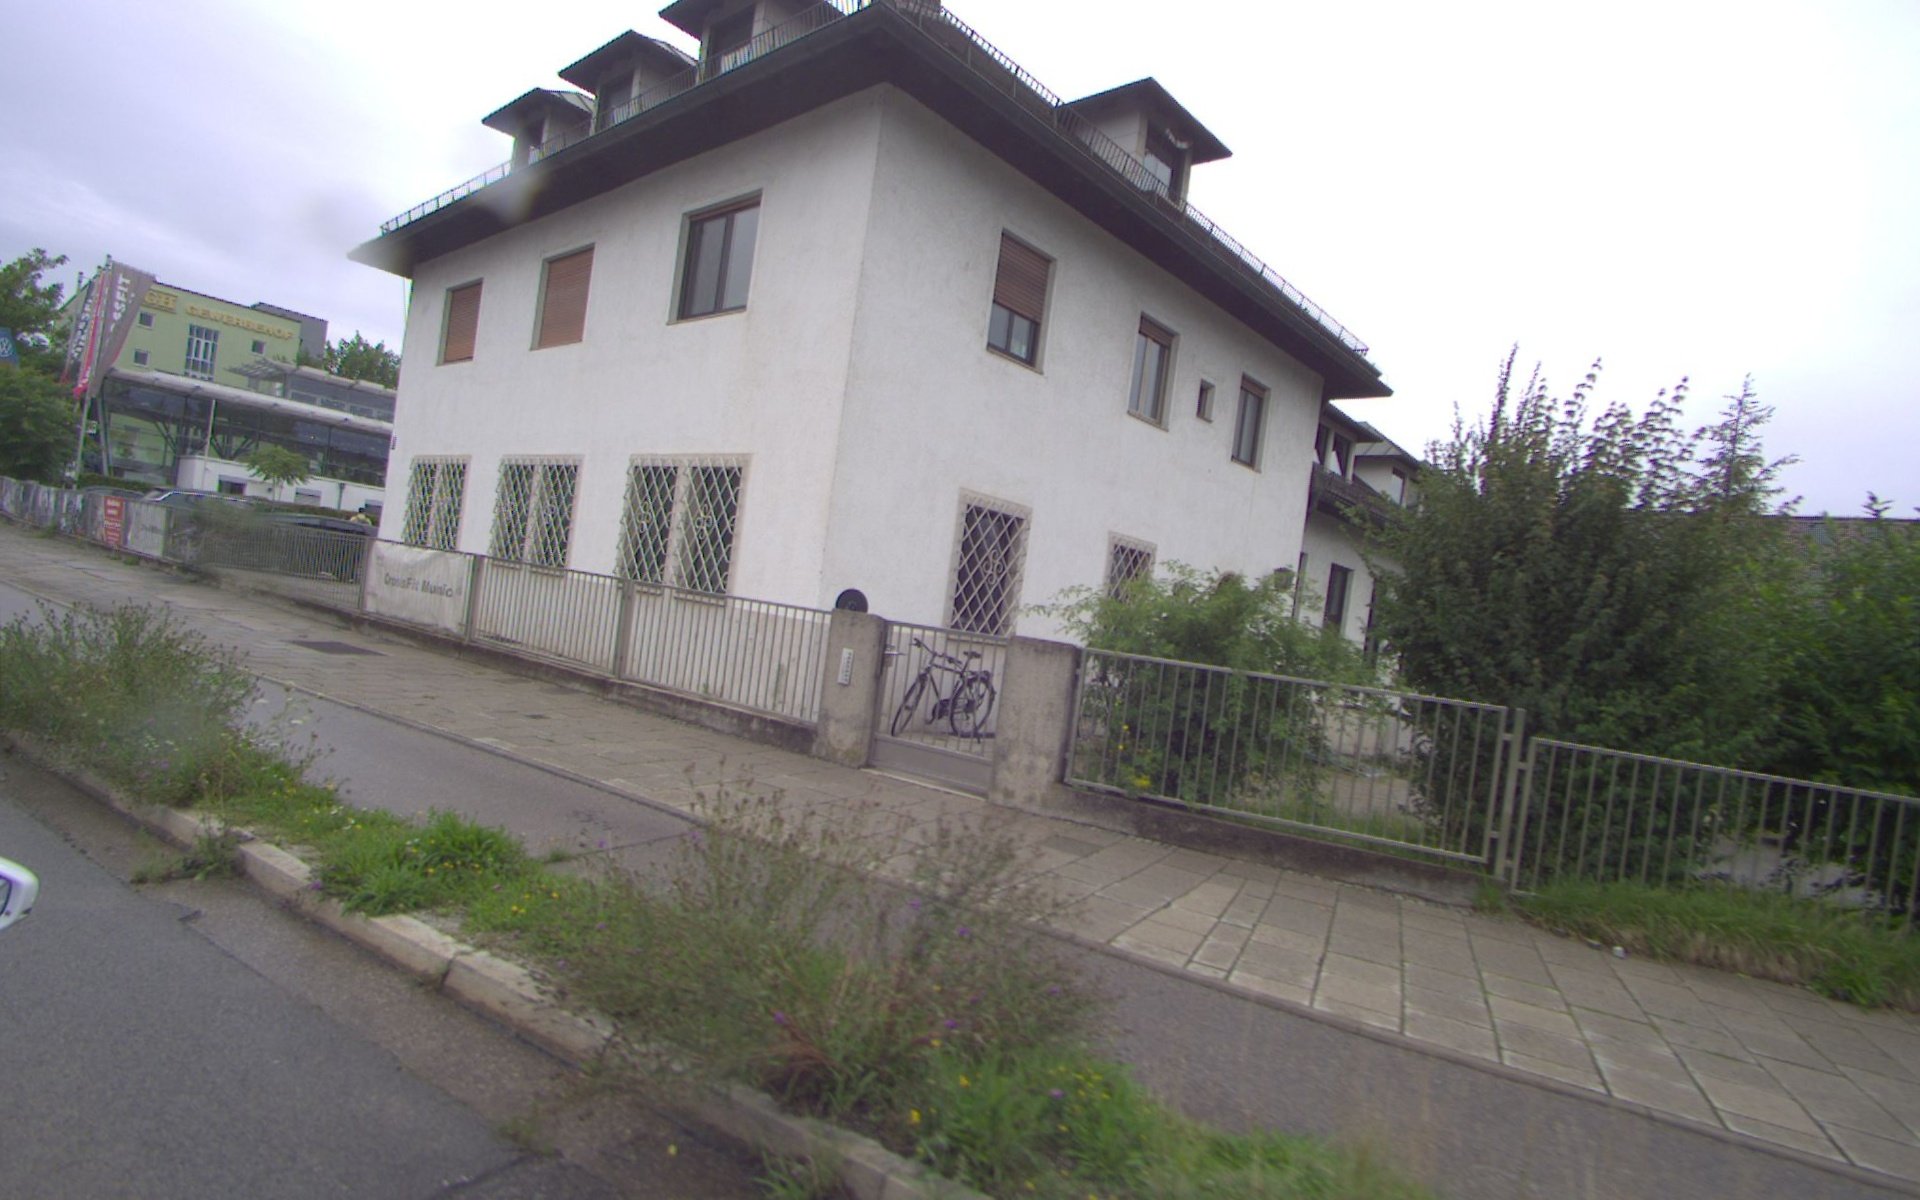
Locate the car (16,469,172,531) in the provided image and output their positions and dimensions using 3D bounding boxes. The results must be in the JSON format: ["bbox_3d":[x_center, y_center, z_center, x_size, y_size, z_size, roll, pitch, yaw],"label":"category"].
[{"bbox_3d":[-31.168,-3.570,36.287,1.768,1.478,4.008,8,0,42],"label":"car"}]

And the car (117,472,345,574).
[{"bbox_3d":[-17.785,-1.840,24.683,1.899,1.746,4.093,8,0,41],"label":"car"}]

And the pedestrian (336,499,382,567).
[{"bbox_3d":[-18.276,-2.028,30.606,0.918,1.925,0.733,8,1,38],"label":"pedestrian"}]

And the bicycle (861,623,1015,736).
[{"bbox_3d":[-0.202,0.901,10.993,0.466,1.082,1.843,8,-1,40],"label":"bicycle"}]

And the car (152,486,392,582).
[{"bbox_3d":[-15.620,-1.467,22.988,1.899,1.467,4.093,8,-1,41],"label":"car"}]

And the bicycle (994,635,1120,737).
[{"bbox_3d":[1.238,1.094,12.495,0.466,1.126,1.843,8,-1,40],"label":"bicycle"}]

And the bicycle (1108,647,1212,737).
[{"bbox_3d":[2.808,1.301,13.987,0.466,1.126,1.843,8,-1,40],"label":"bicycle"}]
